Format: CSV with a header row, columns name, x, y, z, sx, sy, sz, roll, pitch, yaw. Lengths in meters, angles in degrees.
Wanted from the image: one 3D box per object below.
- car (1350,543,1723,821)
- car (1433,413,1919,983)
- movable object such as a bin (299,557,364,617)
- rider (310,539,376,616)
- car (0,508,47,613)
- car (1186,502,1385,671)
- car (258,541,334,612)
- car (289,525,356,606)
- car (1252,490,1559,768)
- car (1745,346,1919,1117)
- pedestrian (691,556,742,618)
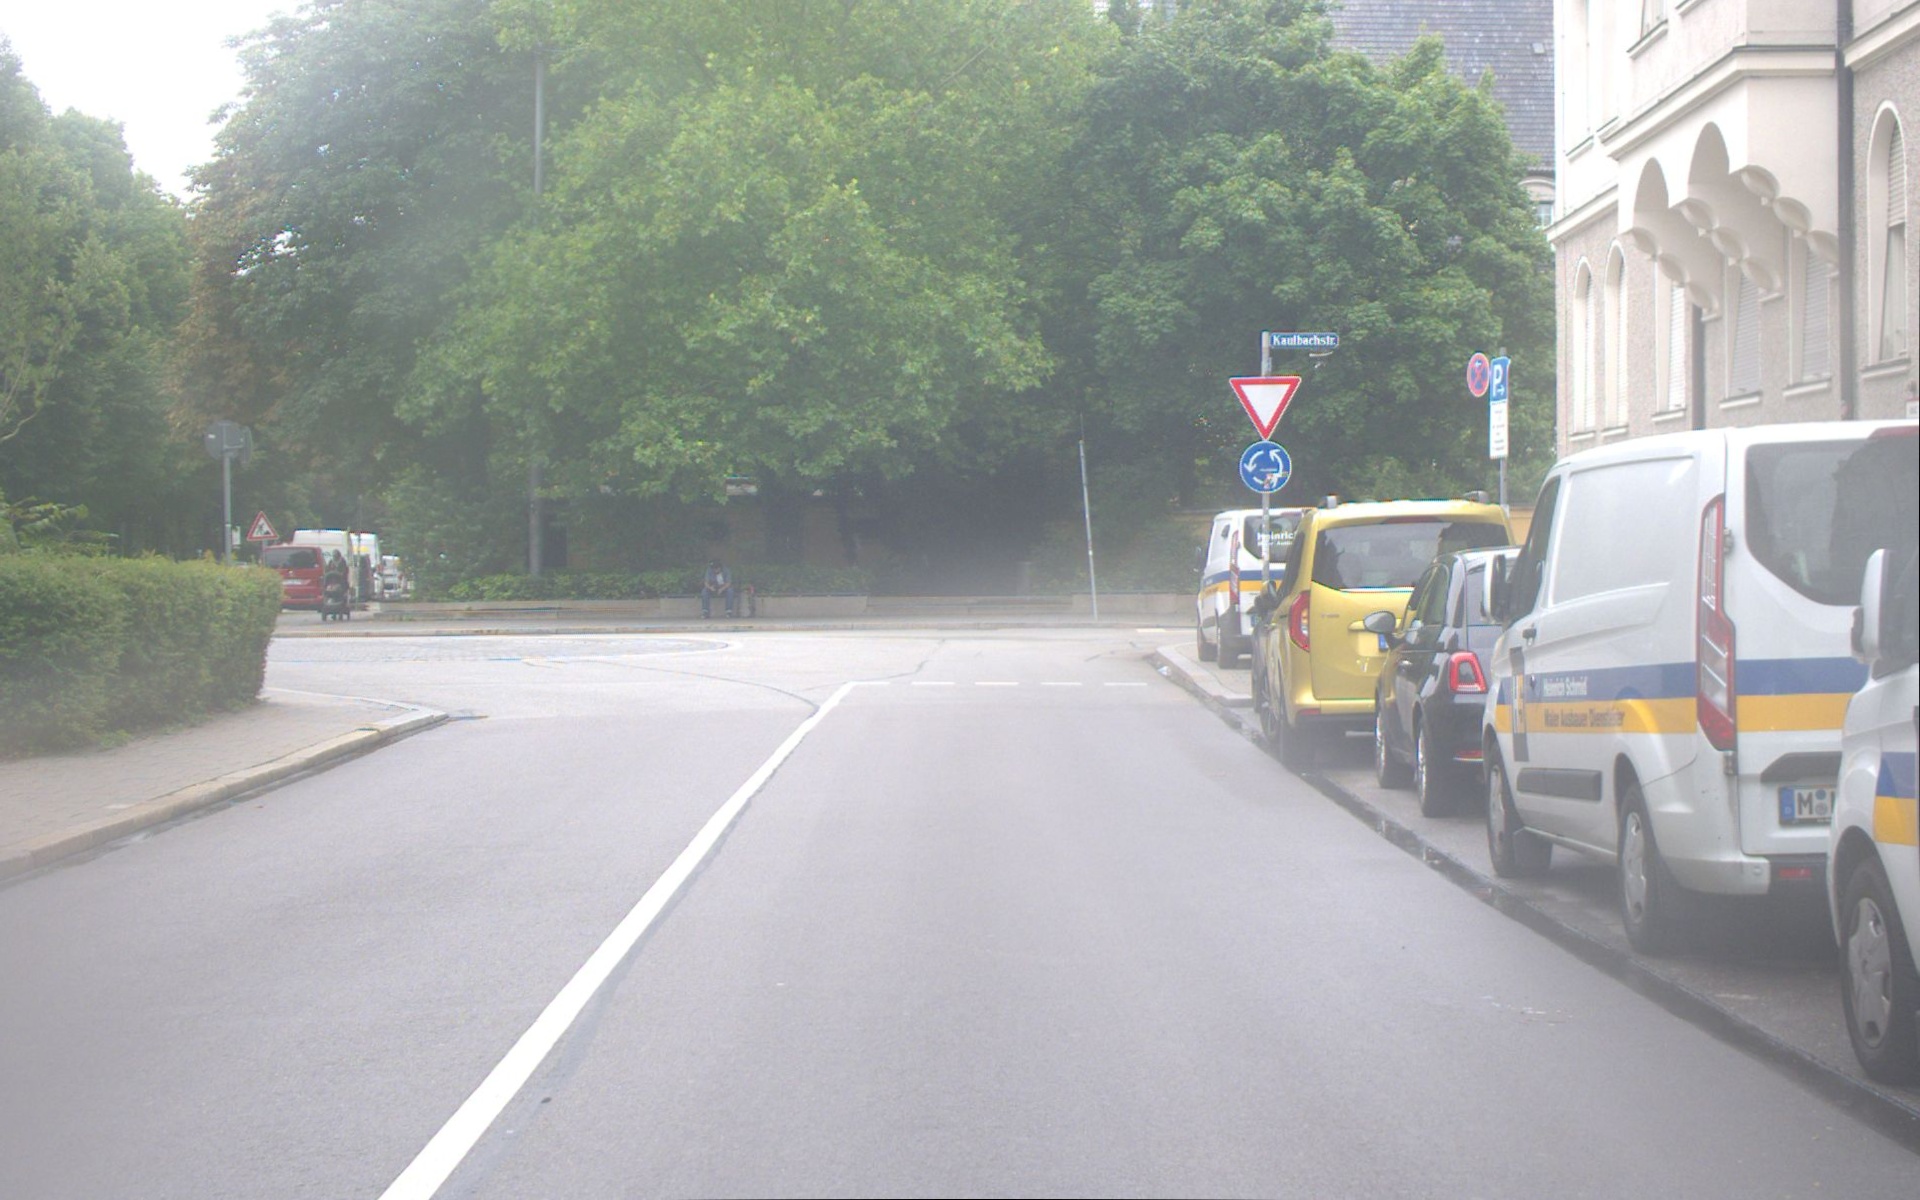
name,x,y,z,sx,sy,sz,roll,pitch,yaw
car,3.317,0.414,20.389,1.632,1.479,3.783,-1,1,1
car,3.368,0.284,14.214,1.959,1.930,4.994,-1,1,-2
movable object such as a bin,-14.095,-0.299,77.104,1.078,1.263,1.086,-3,1,8
rider,-13.980,-0.514,77.912,1.082,1.662,1.139,-3,1,8
car,-27.867,-1.120,98.149,2.334,2.912,6.580,0,1,-5
car,4.028,-0.211,43.306,1.916,1.955,4.927,-2,1,-1
car,-18.564,-0.668,96.182,2.041,1.916,4.447,-1,1,-11
car,-20.718,-1.134,111.847,2.041,2.549,5.250,-1,1,-10
car,3.178,0.153,25.383,1.850,1.846,4.820,0,1,3
car,3.498,0.345,8.163,1.959,2.007,4.994,-1,1,-2
pedestrian,-4.717,-0.249,66.610,0.812,1.185,0.919,0,1,6
